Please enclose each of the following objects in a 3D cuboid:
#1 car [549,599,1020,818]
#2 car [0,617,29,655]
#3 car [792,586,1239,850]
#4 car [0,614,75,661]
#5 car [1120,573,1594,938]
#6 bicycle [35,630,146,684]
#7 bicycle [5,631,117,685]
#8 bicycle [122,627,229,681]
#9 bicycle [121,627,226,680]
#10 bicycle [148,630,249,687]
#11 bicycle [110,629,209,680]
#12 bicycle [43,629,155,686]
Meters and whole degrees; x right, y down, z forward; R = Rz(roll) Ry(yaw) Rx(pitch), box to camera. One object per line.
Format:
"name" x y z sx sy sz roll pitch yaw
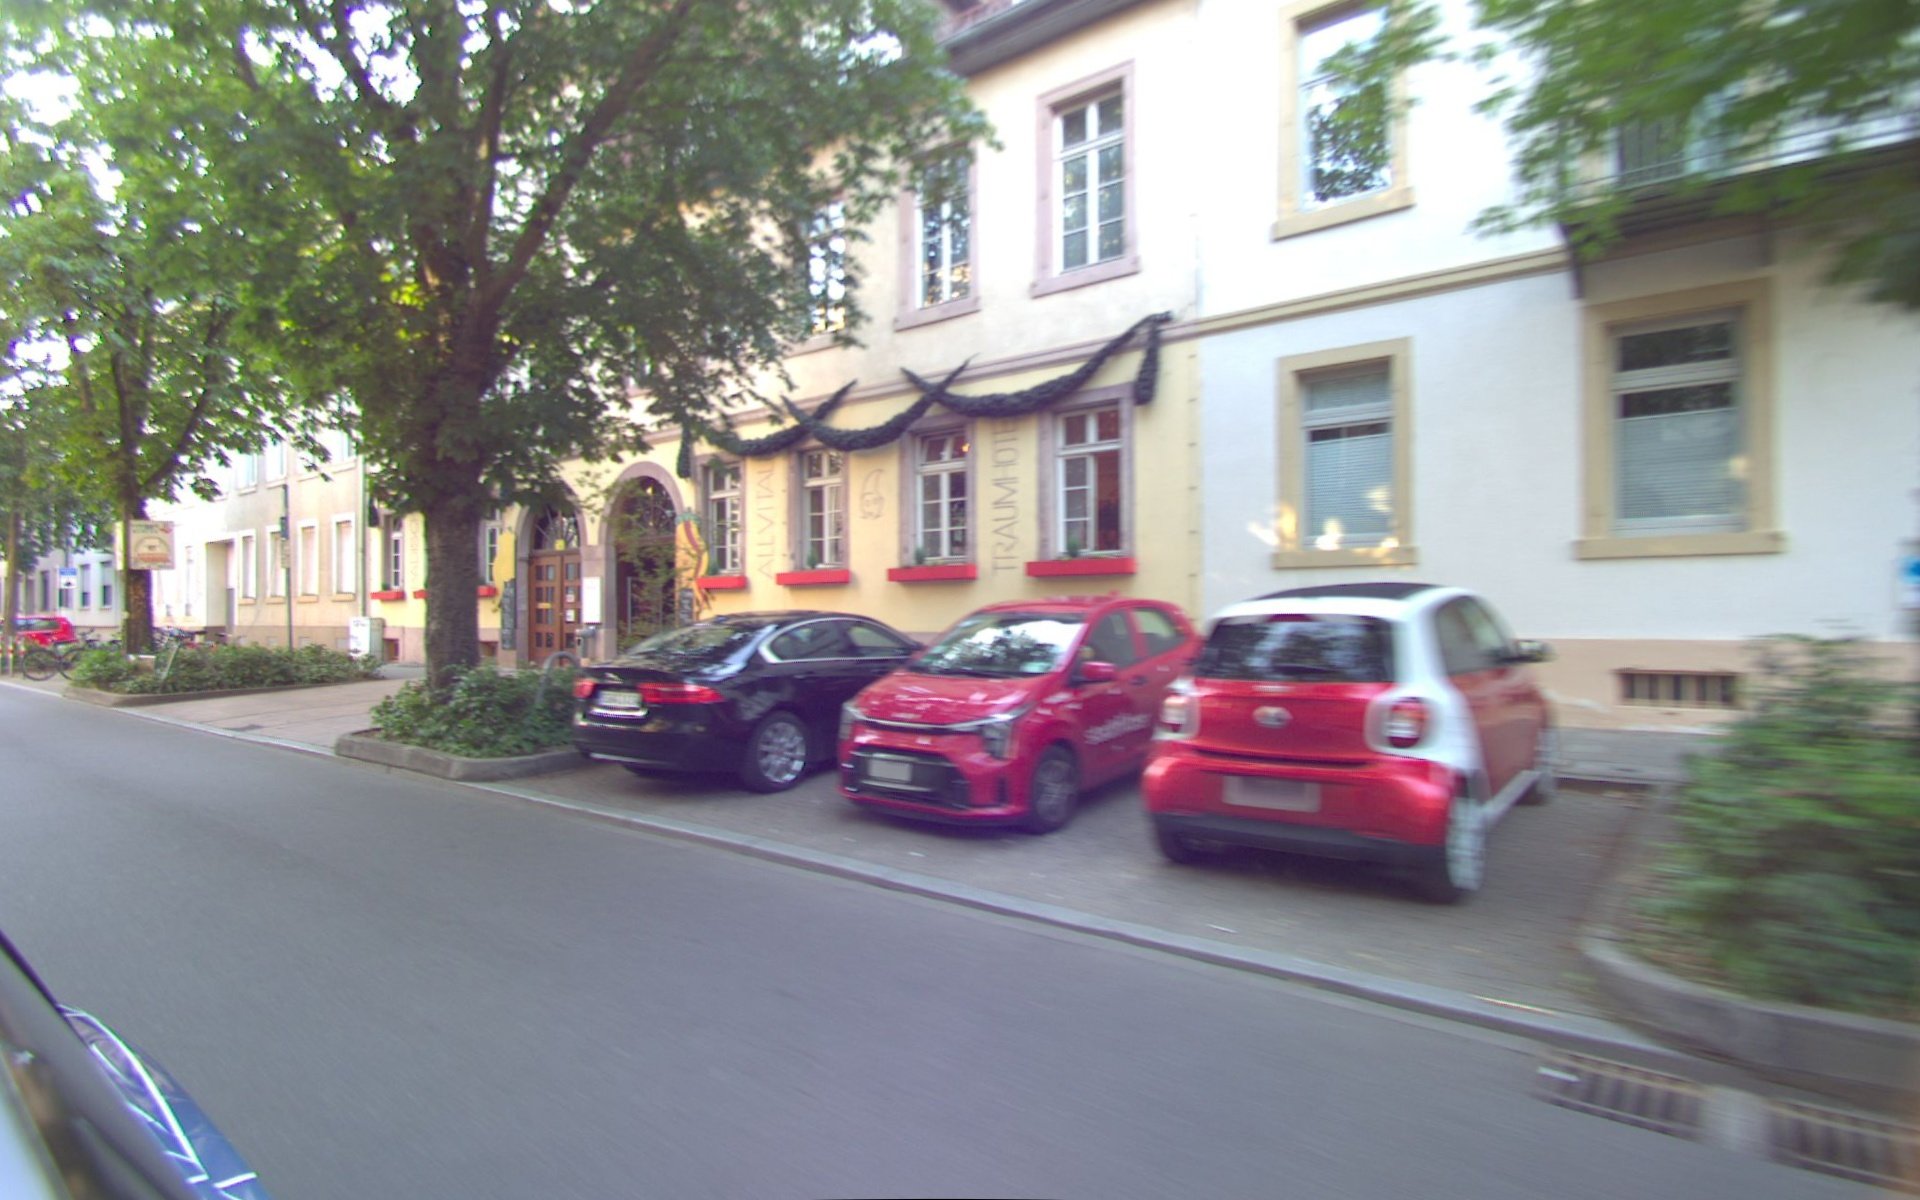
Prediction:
"car" -1.309 0.754 9.335 1.714 1.417 4.387 0 1 34
"car" -38.340 1.452 38.887 1.587 1.430 3.512 -2 1 35
"car" 0.634 0.681 7.850 1.657 1.460 3.649 -1 1 38
"car" -31.592 1.267 33.276 1.669 1.416 3.458 -2 1 35
"car" 2.896 0.636 6.683 1.769 1.550 4.313 0 2 38
"bicycle" -19.853 1.274 23.147 0.478 1.107 1.849 -1 0 32
"bicycle" -20.530 1.294 23.155 0.478 1.106 1.849 -1 1 31
"bicycle" -17.690 1.194 22.863 0.478 1.107 1.849 -1 0 32
"bicycle" -18.154 1.210 23.413 0.507 1.107 1.849 -1 0 32
"bicycle" -16.528 1.245 22.009 0.478 1.107 1.694 -1 0 32
"bicycle" -19.597 1.315 24.814 0.478 1.107 1.849 -1 0 32
"bicycle" -19.337 1.259 22.760 0.478 1.153 1.849 -1 0 31
